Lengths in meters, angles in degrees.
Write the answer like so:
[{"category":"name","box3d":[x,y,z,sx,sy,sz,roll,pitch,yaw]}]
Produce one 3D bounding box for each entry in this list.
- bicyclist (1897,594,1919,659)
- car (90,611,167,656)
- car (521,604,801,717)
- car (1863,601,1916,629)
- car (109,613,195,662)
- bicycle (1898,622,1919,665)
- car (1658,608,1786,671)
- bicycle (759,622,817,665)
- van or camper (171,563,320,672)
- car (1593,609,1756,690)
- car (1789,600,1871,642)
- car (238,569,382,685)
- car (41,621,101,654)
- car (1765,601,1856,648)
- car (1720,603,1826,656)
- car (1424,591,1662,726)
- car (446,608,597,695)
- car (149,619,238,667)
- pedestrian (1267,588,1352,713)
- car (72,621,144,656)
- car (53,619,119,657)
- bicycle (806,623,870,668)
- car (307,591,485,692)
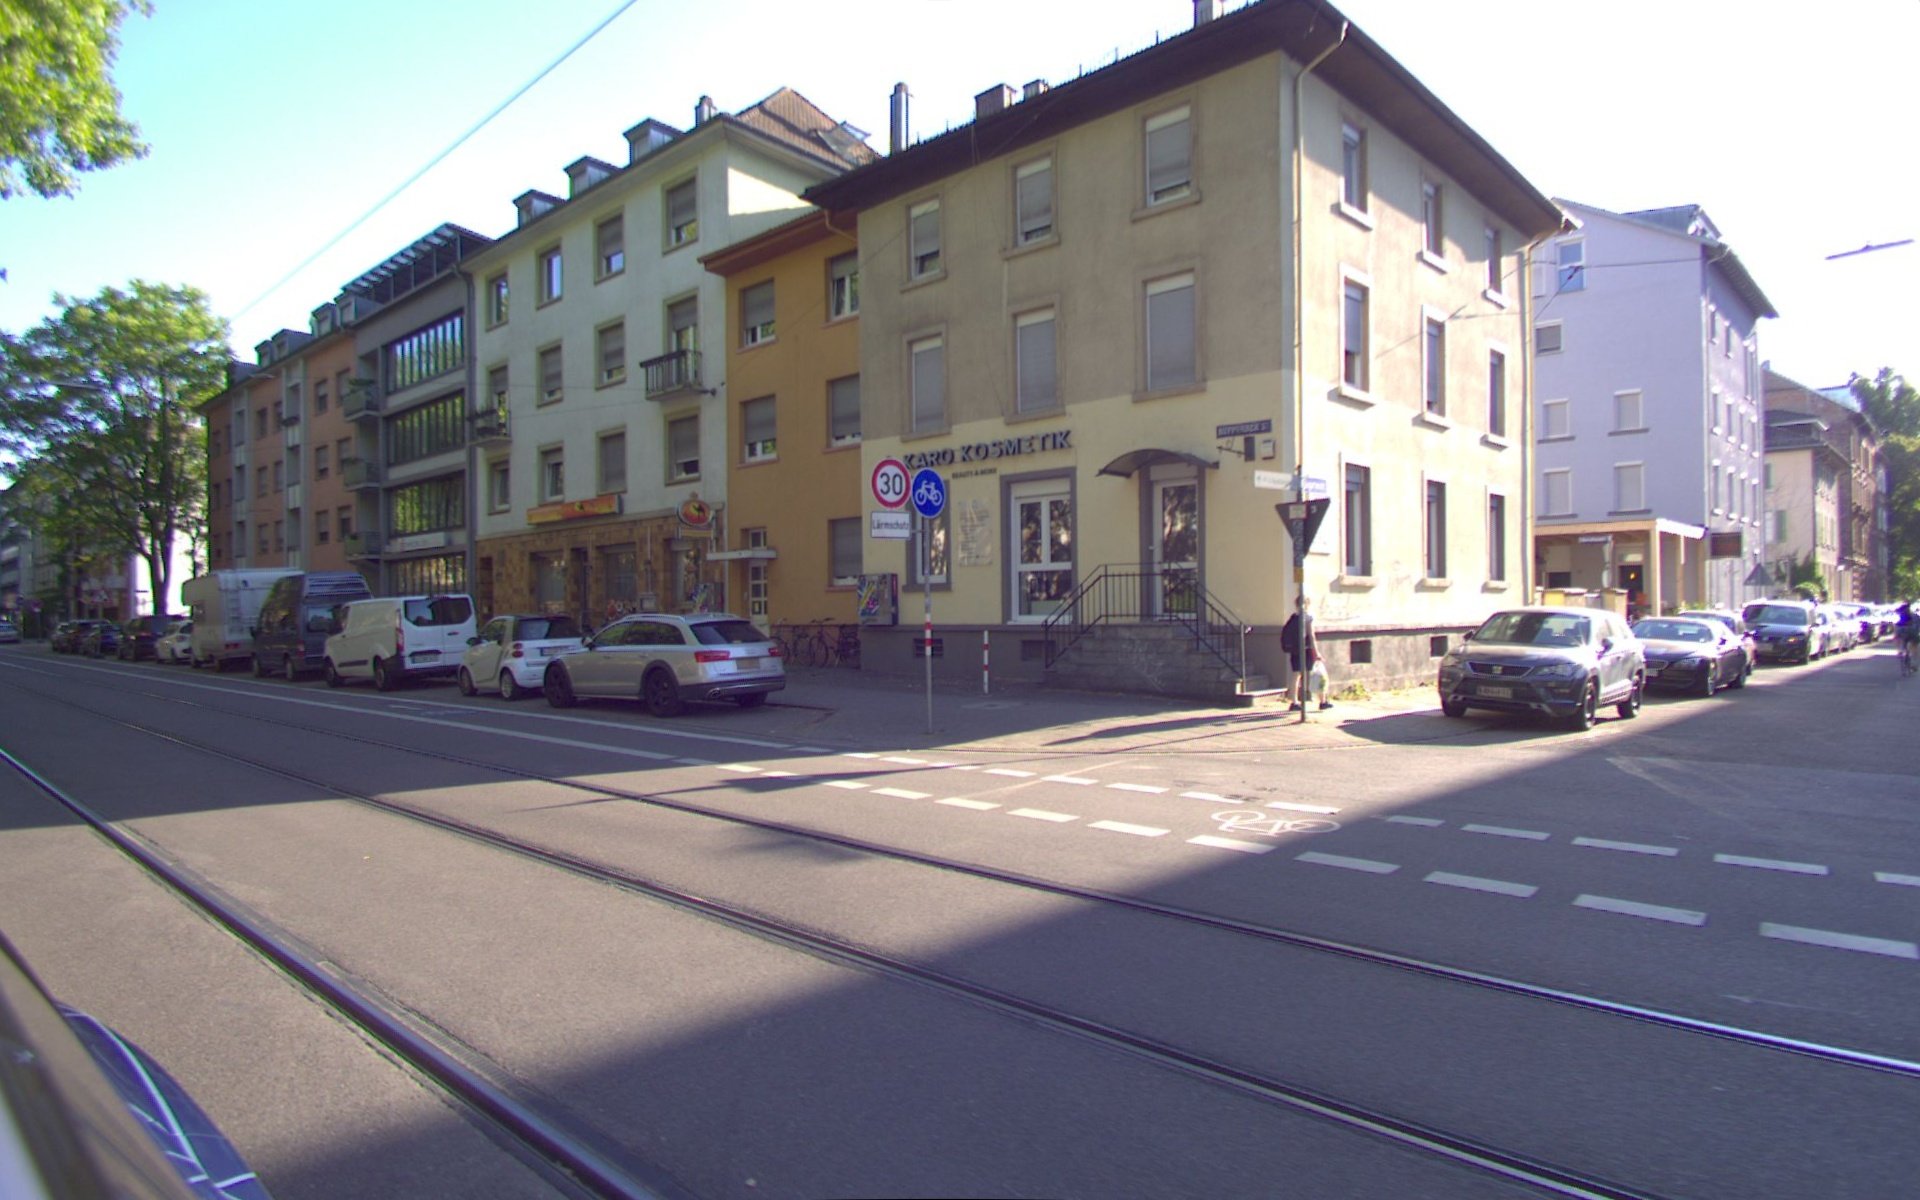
[{"category":"bicyclist","box3d":[21.854,0.601,23.110,0.647,1.444,0.794,-2,-1,44]},{"category":"car","box3d":[-35.267,1.377,42.891,4.432,1.767,1.768,-1,0,40]},{"category":"car","box3d":[-4.880,0.874,16.124,4.935,1.504,1.754,-1,0,39]},{"category":"car","box3d":[50.407,0.805,54.877,1.967,1.434,4.016,-1,-1,44]},{"category":"car","box3d":[-31.395,1.422,39.290,4.432,1.767,1.768,-1,0,40]},{"category":"bicycle","box3d":[21.864,0.982,23.091,0.647,0.935,1.950,-1,-1,43]},{"category":"car","box3d":[18.507,0.894,24.515,1.967,1.399,4.016,-1,-1,44]},{"category":"bicycle","box3d":[-3.911,0.977,22.940,1.646,0.935,0.357,-1,-1,42]},{"category":"van or camper","box3d":[-22.345,0.504,31.557,5.989,2.999,2.392,-1,3,42]},{"category":"car","box3d":[14.000,0.887,19.757,1.967,1.400,4.016,-1,-1,44]},{"category":"car","box3d":[31.470,0.736,36.583,1.967,1.434,4.016,-1,-1,44]},{"category":"car","box3d":[-17.384,0.674,26.973,4.545,2.766,1.903,-1,3,42]},{"category":"car","box3d":[-46.665,1.933,53.080,4.095,1.607,1.768,-1,0,40]},{"category":"car","box3d":[27.951,0.769,33.230,1.967,1.434,4.016,-1,-1,44]},{"category":"car","box3d":[23.418,0.813,29.106,1.967,1.434,4.016,-1,-1,44]},{"category":"car","box3d":[8.359,0.736,14.357,1.967,1.630,4.016,-1,-1,44]},{"category":"car","box3d":[-8.388,0.932,19.305,2.882,1.504,1.554,-1,0,42]},{"category":"car","box3d":[-27.028,1.478,35.669,3.471,1.526,1.768,-1,0,40]},{"category":"pedestrian","box3d":[4.714,0.653,13.669,0.763,1.599,0.754,0,2,-40]},{"category":"car","box3d":[-38.801,1.725,46.073,4.432,1.482,1.768,-1,0,40]},{"category":"car","box3d":[-42.447,1.805,49.124,4.432,1.682,1.768,-1,0,40]},{"category":"bicycle","box3d":[-2.638,0.958,21.787,1.646,0.935,0.357,-1,-1,42]},{"category":"car","box3d":[-12.952,0.882,23.102,4.937,2.062,1.903,-1,0,40]}]
